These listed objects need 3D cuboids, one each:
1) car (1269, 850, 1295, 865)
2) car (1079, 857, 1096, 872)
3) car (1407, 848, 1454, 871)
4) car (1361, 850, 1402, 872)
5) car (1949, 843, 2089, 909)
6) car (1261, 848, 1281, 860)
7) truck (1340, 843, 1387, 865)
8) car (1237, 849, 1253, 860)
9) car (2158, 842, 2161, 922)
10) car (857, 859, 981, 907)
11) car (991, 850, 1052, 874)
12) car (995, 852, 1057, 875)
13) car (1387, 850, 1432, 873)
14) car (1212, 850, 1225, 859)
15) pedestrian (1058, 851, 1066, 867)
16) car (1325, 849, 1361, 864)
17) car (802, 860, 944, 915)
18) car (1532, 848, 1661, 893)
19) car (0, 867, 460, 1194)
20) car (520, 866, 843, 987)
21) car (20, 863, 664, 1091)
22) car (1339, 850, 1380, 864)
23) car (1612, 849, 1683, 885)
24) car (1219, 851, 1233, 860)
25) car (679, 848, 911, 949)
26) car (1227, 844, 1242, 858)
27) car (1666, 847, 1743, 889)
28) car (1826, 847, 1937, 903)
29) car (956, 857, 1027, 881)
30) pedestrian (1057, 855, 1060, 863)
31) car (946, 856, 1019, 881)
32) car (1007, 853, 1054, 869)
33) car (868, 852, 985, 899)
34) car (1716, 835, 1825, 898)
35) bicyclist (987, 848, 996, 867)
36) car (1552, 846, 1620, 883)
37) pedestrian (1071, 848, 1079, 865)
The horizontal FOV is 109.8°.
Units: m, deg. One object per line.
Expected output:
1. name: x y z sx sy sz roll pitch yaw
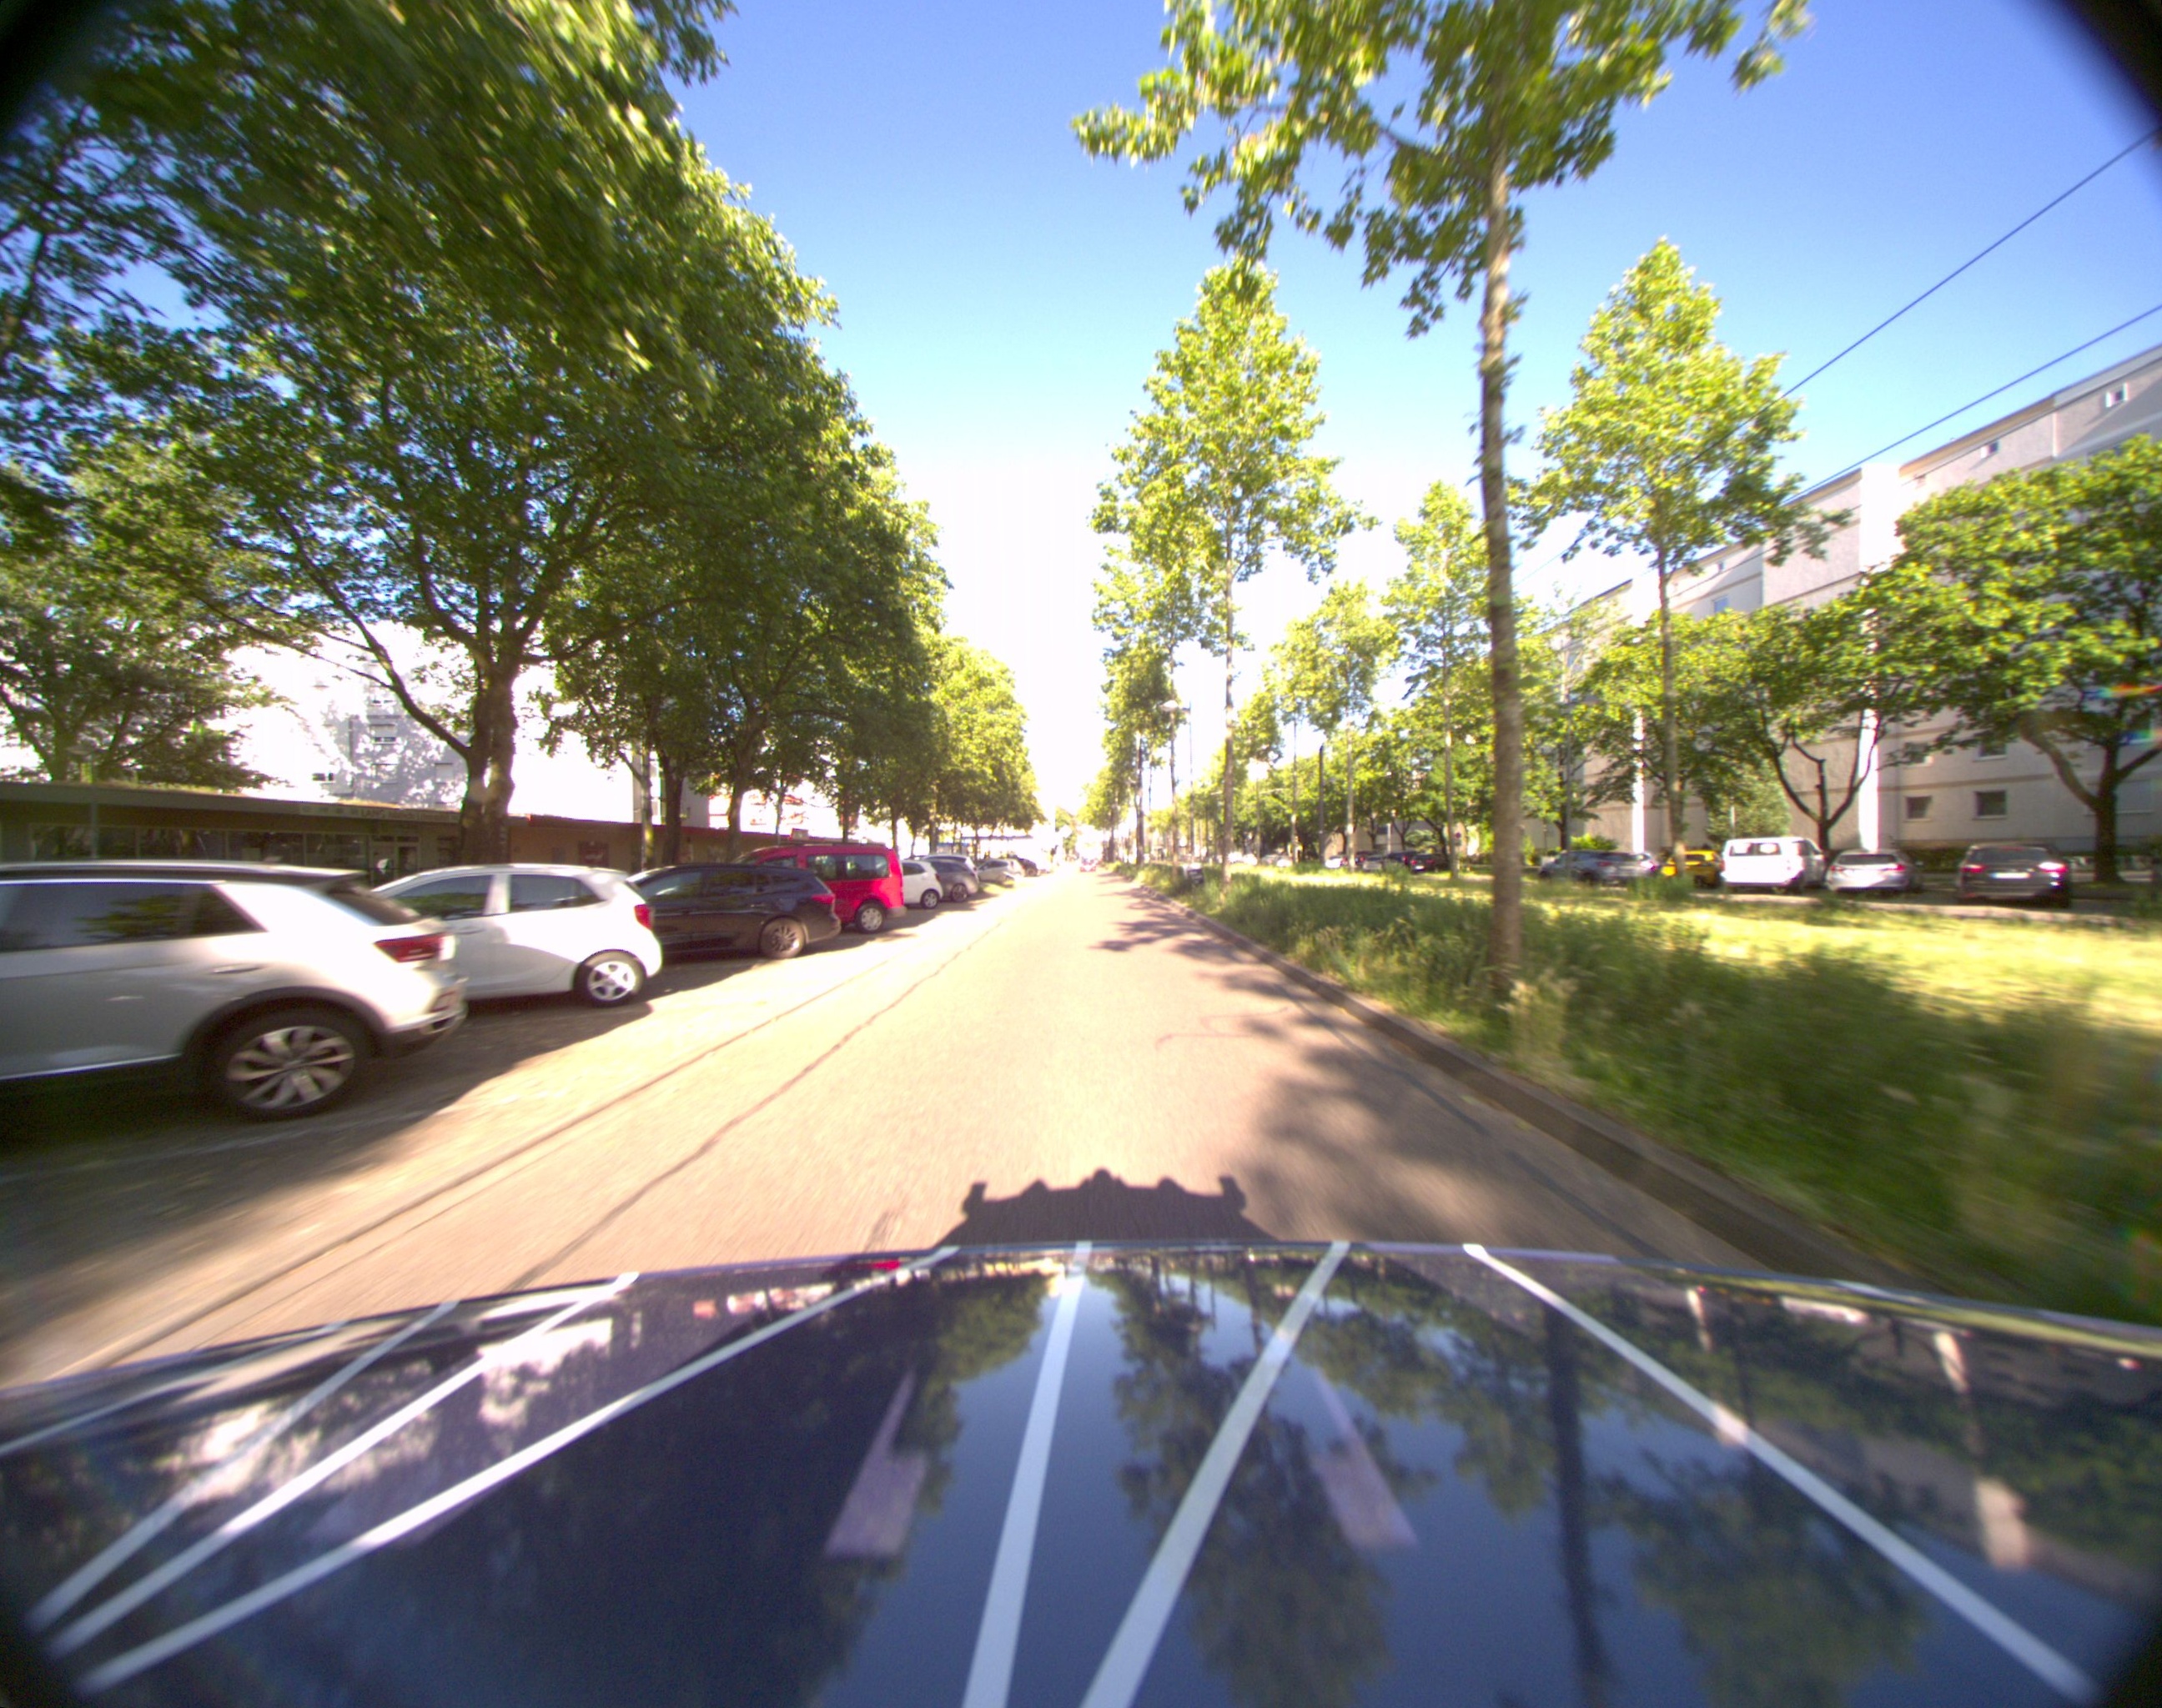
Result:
1. car: 20.517 0.330 77.766 1.650 1.477 3.849 0 1 0
2. car: 0.677 1.099 79.937 1.619 1.536 4.277 -1 0 2
3. car: 24.824 0.393 53.921 1.647 1.466 4.094 -6 -4 44
4. car: 24.222 0.528 61.216 1.646 1.637 4.093 2 2 44
5. car: 24.094 0.518 19.488 4.092 1.521 1.814 -1 -1 -33
6. car: 24.455 0.006 97.991 1.718 1.537 4.201 -1 0 2
7. truck: 24.207 -0.029 65.010 4.092 1.766 1.646 -1 5 -35
8. car: 23.817 0.080 110.242 1.718 1.537 3.934 -1 0 4
9. car: 23.925 0.528 15.646 4.092 1.597 1.990 -1 -1 -35
10. car: -5.439 0.932 25.777 3.795 1.462 1.646 0 1 -42
11. car: -4.806 0.612 61.856 4.680 1.842 1.825 0 1 -39
12. car: -4.176 0.682 57.865 4.512 1.695 1.756 0 1 -40
13. car: 24.947 0.527 57.626 4.094 1.636 1.647 0 -2 -45
14. car: 24.013 0.077 133.206 1.598 1.626 3.930 -1 0 0
15. pedestrian: -2.099 0.545 83.736 0.714 1.696 0.652 0 1 -33
16. car: 24.985 0.249 72.414 1.835 1.426 3.833 0 0 42
17. car: -5.968 0.901 22.005 1.646 1.440 3.635 1 1 45
18. car: 18.857 0.550 28.027 1.928 1.497 4.084 2 0 0
19. car: -6.215 0.891 4.237 4.092 1.573 1.776 0 1 -34
20. car: -5.891 0.954 11.467 4.093 1.472 1.647 0 1 -35
21. car: -6.566 0.898 7.412 4.093 1.573 1.776 0 1 -41
22. car: 25.238 0.273 68.859 3.833 1.239 1.835 -1 0 -41
23. car: 24.822 0.535 33.252 4.093 1.474 1.646 -1 1 -41
24. car: 24.062 0.223 126.229 1.598 1.480 4.020 -1 0 0
25. car: -5.697 0.792 15.405 4.093 1.800 1.646 0 1 -39
26. car: 24.496 -0.441 121.300 1.718 2.249 3.933 -1 0 0
27. car: 24.575 0.502 29.909 4.093 1.425 1.574 -1 4 -41
28. car: 24.407 0.605 23.129 4.091 1.424 1.576 -3 0 -33
29. car: -5.543 0.898 47.492 4.194 1.404 1.715 0 1 -42
30. pedestrian: -4.895 0.998 164.519 0.605 1.692 0.552 -1 1 5
31. car: -5.612 0.806 43.483 3.947 1.365 1.583 0 1 -42
32. car: -4.749 0.670 71.928 4.005 1.461 1.756 2 0 -30
33. car: -5.898 0.764 29.206 4.036 1.695 1.756 0 1 -40
34. car: 23.756 0.393 26.118 4.807 1.994 1.888 -1 -1 -37
35. bicyclist: -8.095 0.302 68.580 0.624 1.730 1.023 -1 1 1
36. car: 24.221 0.478 36.388 4.093 1.636 1.647 -1 0 -41
37. pedestrian: -0.637 0.272 86.306 0.799 1.874 0.928 -1 0 5
